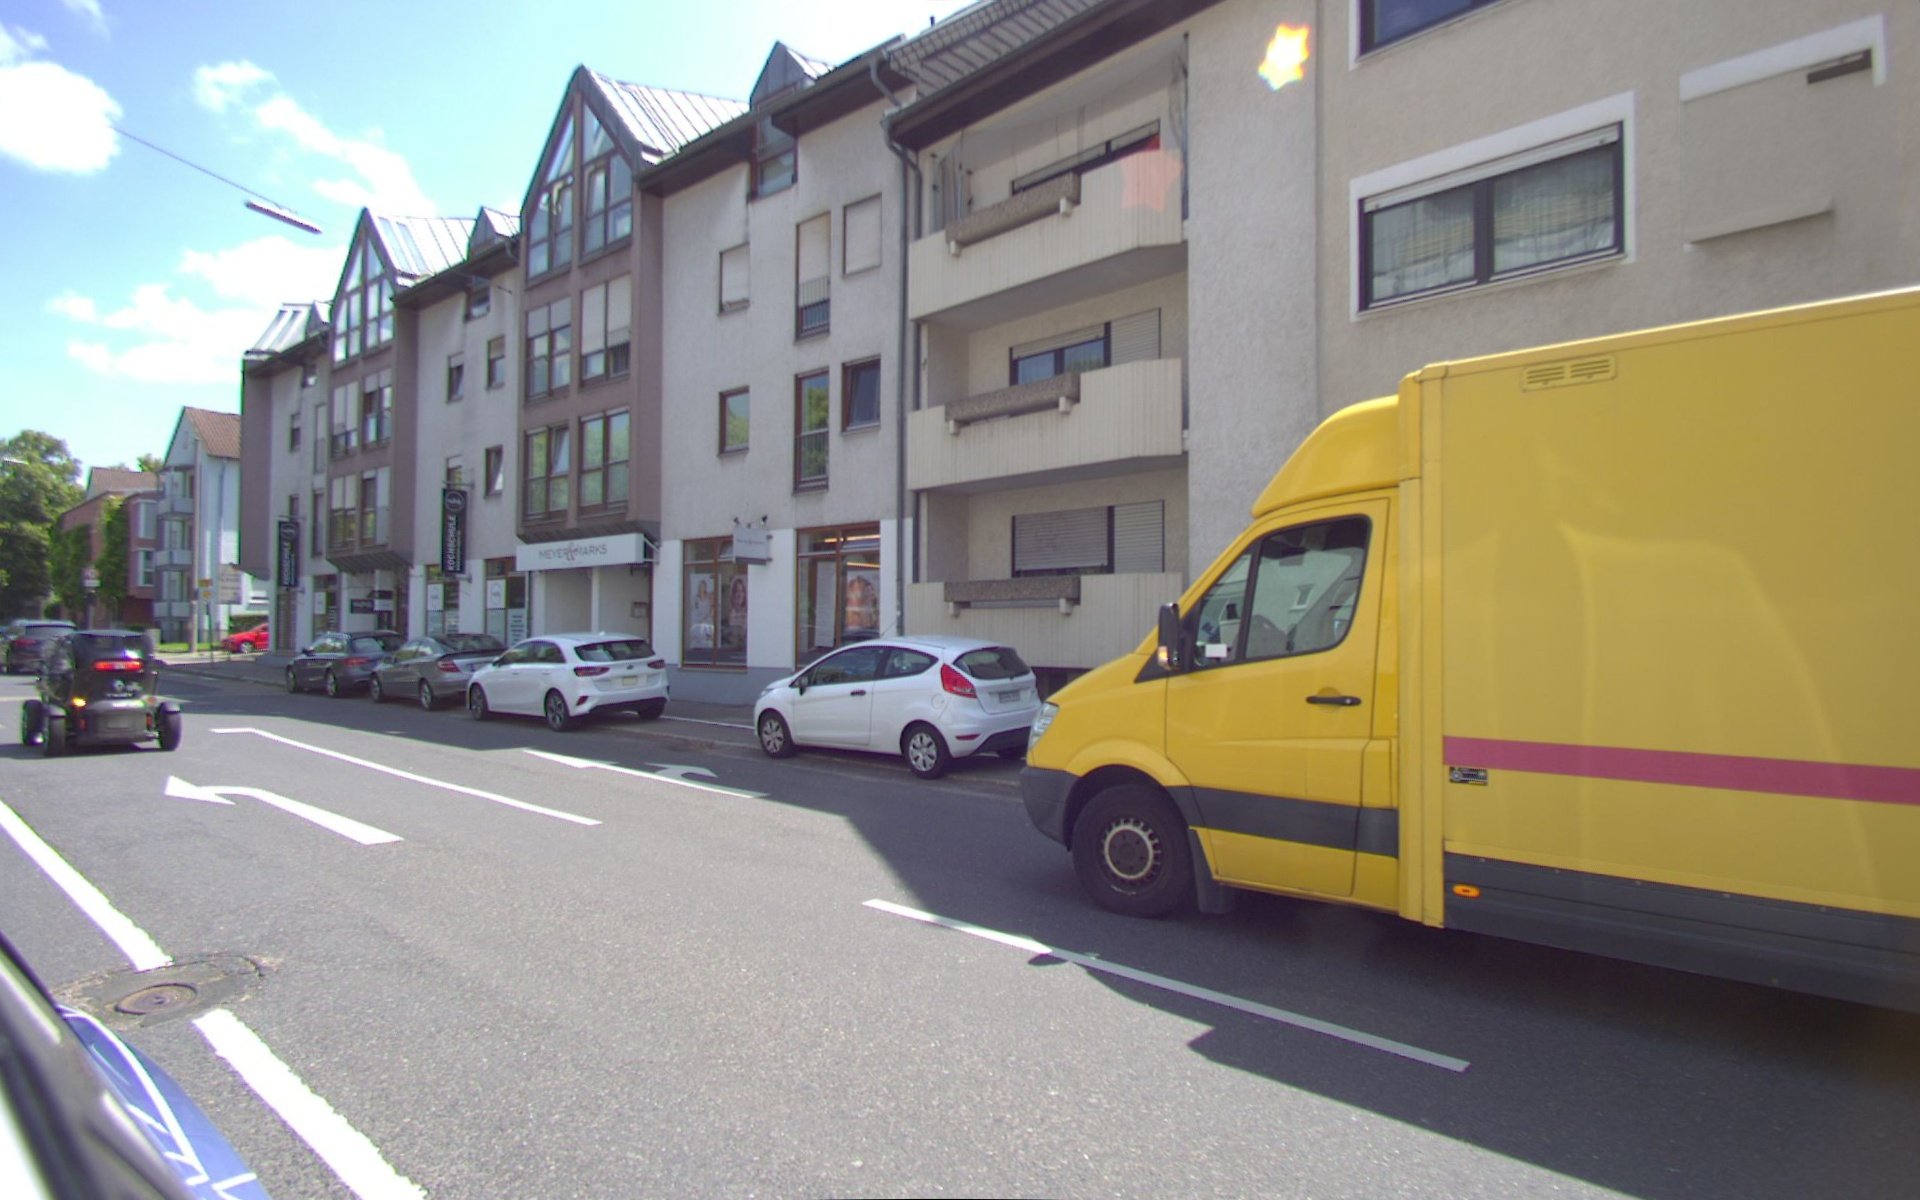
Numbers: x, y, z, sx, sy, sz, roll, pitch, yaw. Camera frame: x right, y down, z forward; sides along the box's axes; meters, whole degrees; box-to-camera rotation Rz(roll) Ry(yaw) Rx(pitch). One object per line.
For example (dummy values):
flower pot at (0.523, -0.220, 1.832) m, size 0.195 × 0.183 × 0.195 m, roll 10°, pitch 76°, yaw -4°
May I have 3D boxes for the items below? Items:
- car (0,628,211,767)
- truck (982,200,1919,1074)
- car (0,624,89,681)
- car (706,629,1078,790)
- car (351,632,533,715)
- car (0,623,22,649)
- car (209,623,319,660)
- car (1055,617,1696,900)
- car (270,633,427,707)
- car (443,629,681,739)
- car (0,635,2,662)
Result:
car at (-10.431, 1.082, 12.212) m, size 2.717 × 1.470 × 1.483 m, roll -1°, pitch -2°, yaw 36°
truck at (3.667, 0.157, 4.176) m, size 7.563 × 2.792 × 2.201 m, roll -1°, pitch -4°, yaw 43°
car at (-28.540, 1.620, 31.225) m, size 4.438 × 1.633 × 1.794 m, roll -2°, pitch -4°, yaw 40°
car at (-0.939, 1.146, 12.109) m, size 4.382 × 1.500 × 1.822 m, roll -1°, pitch 0°, yaw 39°
car at (-10.532, 1.399, 20.457) m, size 4.325 × 1.394 × 1.820 m, roll -1°, pitch 0°, yaw 41°
car at (-59.096, 2.205, 61.878) m, size 4.563 × 1.551 × 1.867 m, roll -1°, pitch -2°, yaw 39°
car at (-33.181, 1.978, 48.302) m, size 1.731 × 1.462 × 3.948 m, roll -3°, pitch 0°, yaw 39°
car at (3.087, 0.970, 8.090) m, size 4.384 × 1.608 × 1.821 m, roll -1°, pitch 0°, yaw 41°
car at (-14.489, 1.566, 23.854) m, size 4.968 × 1.458 × 1.820 m, roll -1°, pitch 0°, yaw 42°
car at (-6.700, 1.287, 16.816) m, size 4.383 × 1.500 × 1.821 m, roll -1°, pitch 0°, yaw 40°
car at (-42.694, 2.183, 43.511) m, size 4.220 × 1.430 × 1.724 m, roll -1°, pitch -4°, yaw 41°
